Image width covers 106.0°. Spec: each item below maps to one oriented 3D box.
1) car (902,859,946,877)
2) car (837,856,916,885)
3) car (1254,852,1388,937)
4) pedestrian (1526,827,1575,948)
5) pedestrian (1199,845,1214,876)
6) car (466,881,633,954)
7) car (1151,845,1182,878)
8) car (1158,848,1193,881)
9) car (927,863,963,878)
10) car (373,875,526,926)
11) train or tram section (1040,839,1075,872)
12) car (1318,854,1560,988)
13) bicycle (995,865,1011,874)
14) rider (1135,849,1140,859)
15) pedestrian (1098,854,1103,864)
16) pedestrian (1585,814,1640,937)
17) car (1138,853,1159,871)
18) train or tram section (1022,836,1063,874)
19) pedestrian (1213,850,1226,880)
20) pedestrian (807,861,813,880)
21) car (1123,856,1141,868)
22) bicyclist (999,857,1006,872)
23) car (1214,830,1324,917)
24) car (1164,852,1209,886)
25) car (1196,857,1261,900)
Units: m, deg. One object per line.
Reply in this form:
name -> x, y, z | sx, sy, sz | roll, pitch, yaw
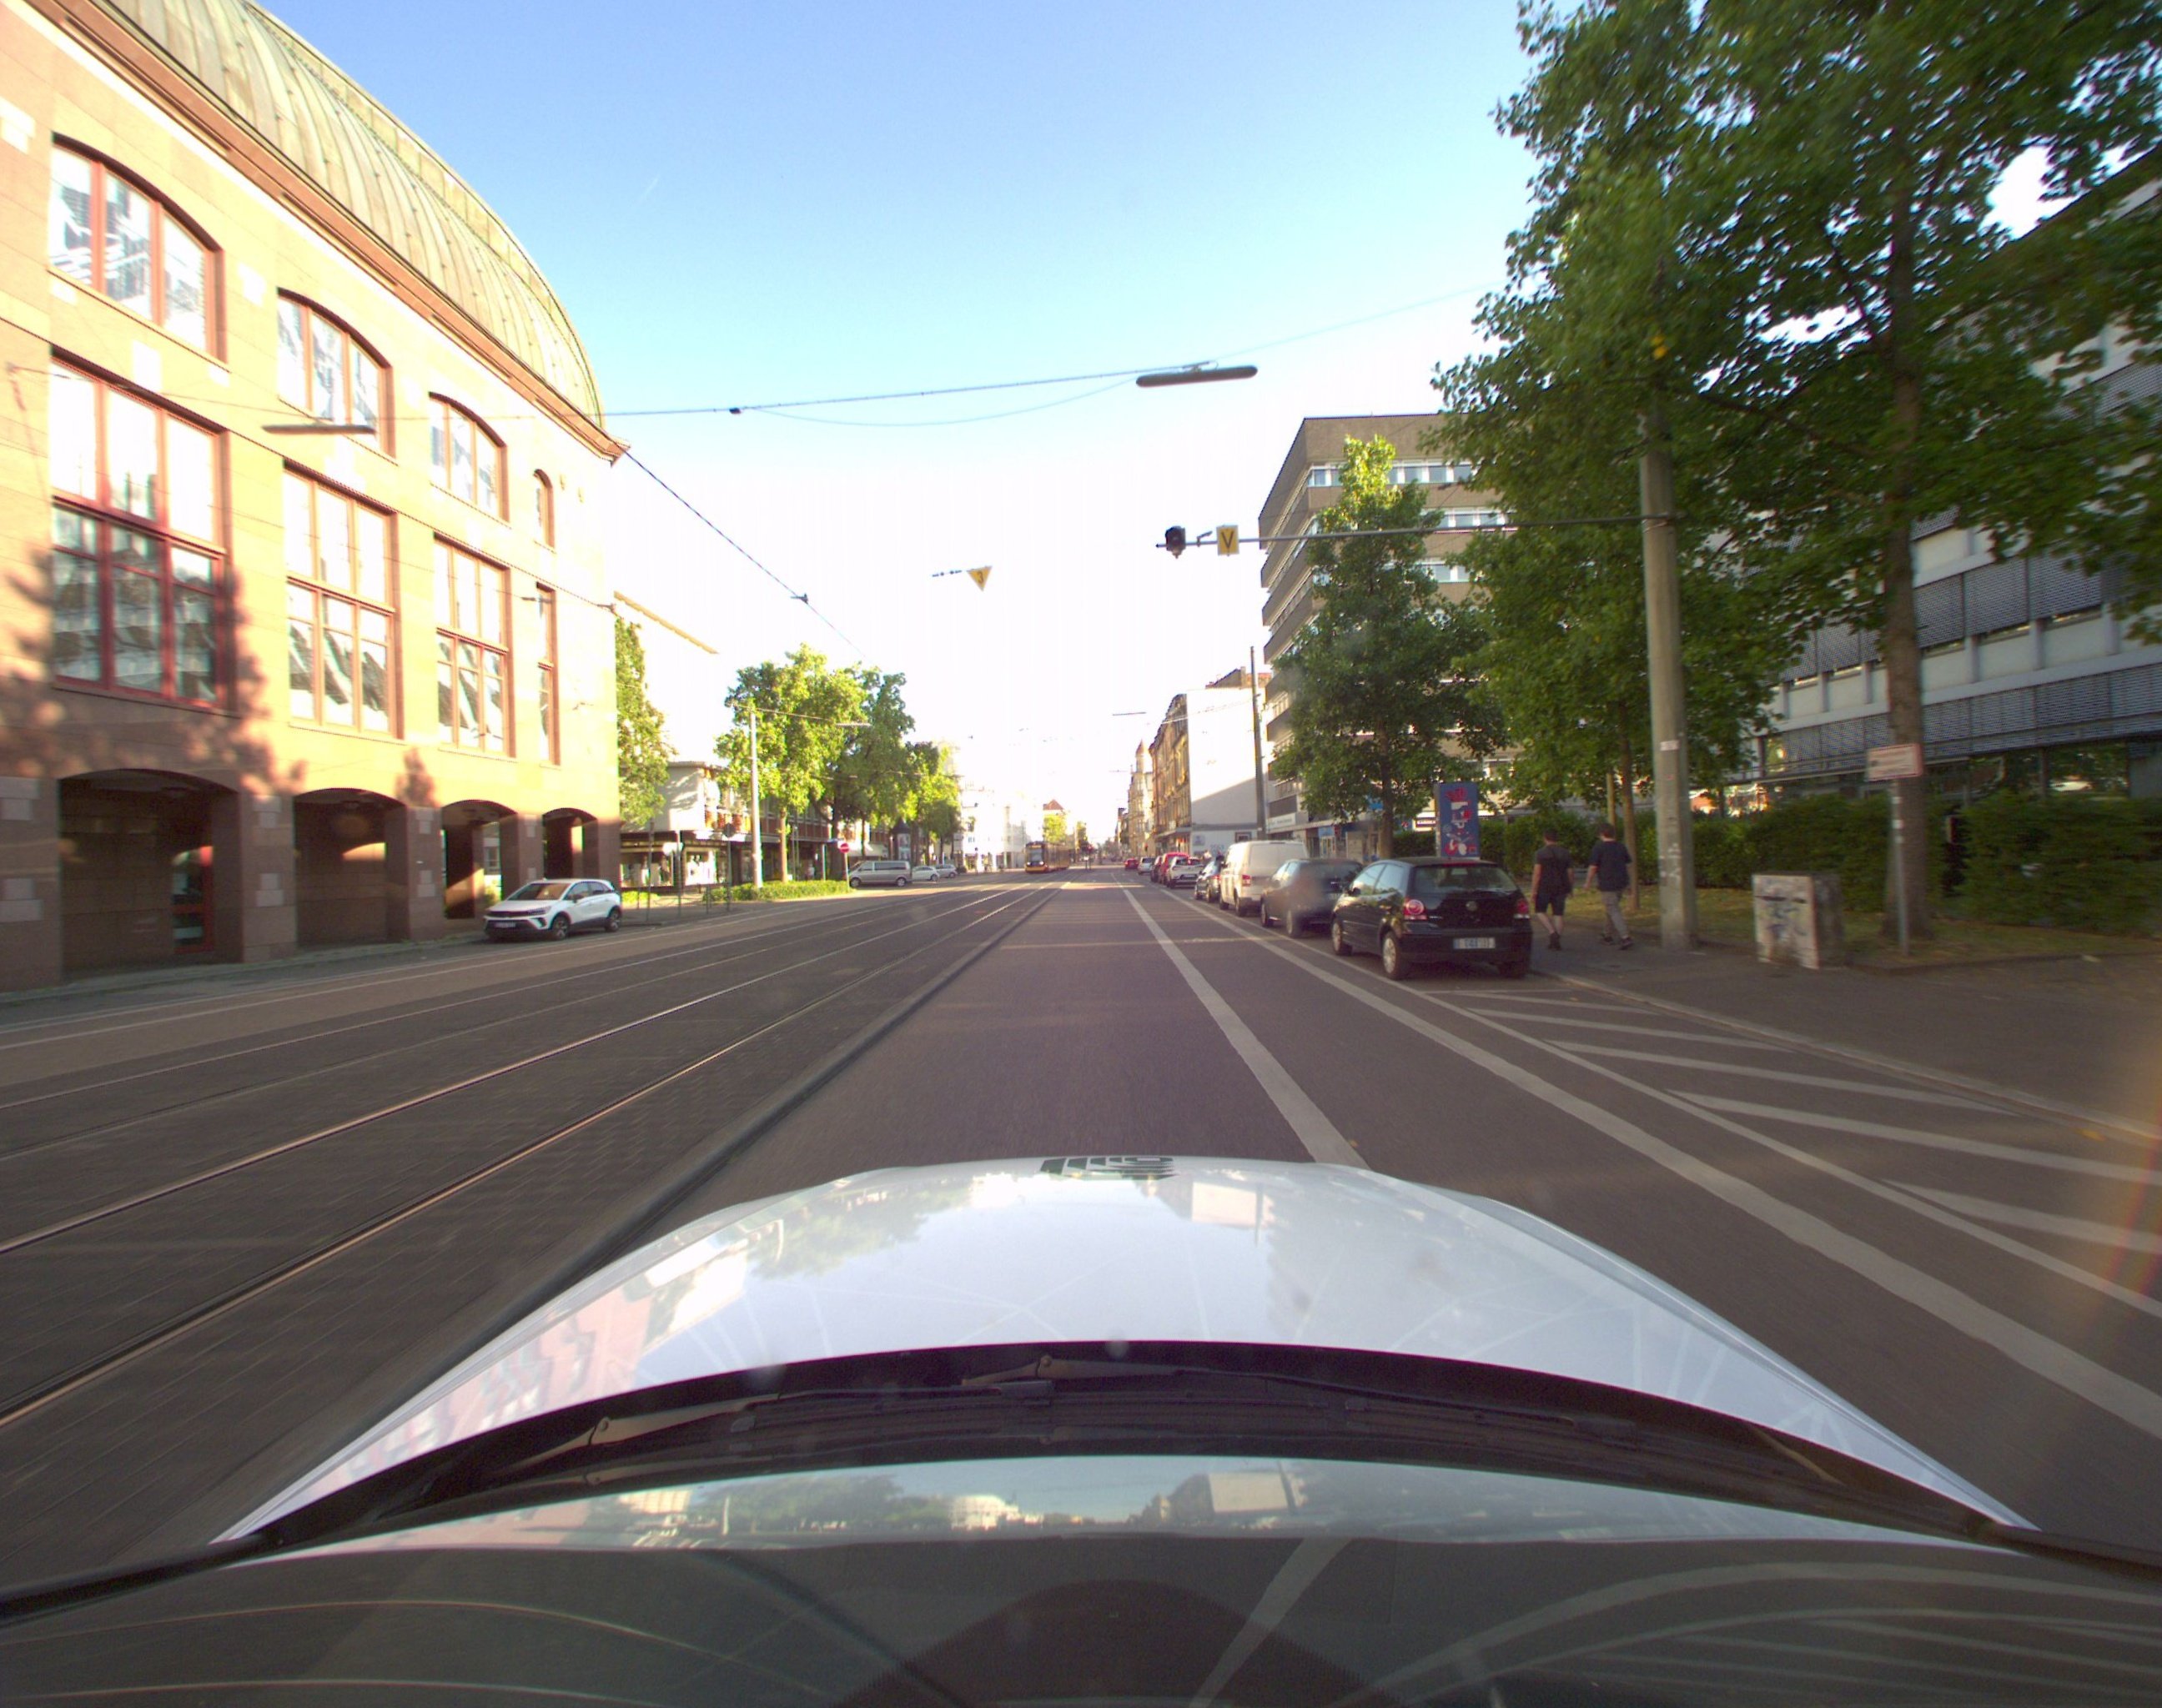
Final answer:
car -> -15.382, 1.362, 79.839 | 3.893, 1.627, 1.858 | 0, 0, -30
car -> -15.179, 1.230, 60.543 | 5.286, 2.043, 2.395 | 0, -2, -31
car -> 4.671, 0.713, 16.408 | 1.615, 1.473, 3.972 | -1, 0, 2
pedestrian -> 6.844, 0.475, 11.886 | 0.422, 1.710, 0.456 | -5, 0, 20
pedestrian -> 7.286, 0.378, 47.276 | 0.728, 1.722, 0.835 | -2, 0, 2
car -> -14.497, 1.652, 22.561 | 1.864, 1.600, 4.252 | -2, 0, -1
car -> 5.347, 0.447, 51.206 | 1.615, 2.006, 3.832 | 0, 0, 1
car -> 5.417, 0.556, 47.094 | 1.615, 1.813, 4.083 | 0, 0, 1
car -> -15.076, 1.809, 90.267 | 3.542, 1.481, 1.566 | 0, 0, -31
car -> -28.126, 2.032, 36.431 | 4.915, 1.993, 2.146 | -2, 0, -9
train or tram section -> -2.848, 0.145, 103.790 | 2.678, 3.878, 12.865 | 0, 0, 6
car -> 4.549, 0.738, 11.023 | 1.615, 1.431, 3.986 | -1, 0, 2
bicycle -> -10.411, 2.077, 108.967 | 2.008, 1.239, 0.702 | 0, 0, 8
rider -> 8.416, 0.007, 121.201 | 0.706, 1.481, 0.889 | 0, 0, 11
pedestrian -> 3.924, 1.005, 163.804 | 0.916, 2.013, 0.759 | 0, 0, 1
pedestrian -> 7.601, 0.304, 11.664 | 0.494, 1.709, 0.456 | -3, 2, 19
car -> 6.103, 0.672, 73.745 | 1.615, 1.555, 4.083 | 0, 0, 1
train or tram section -> -4.157, 0.077, 91.369 | 2.678, 3.960, 12.111 | 0, 0, 6
pedestrian -> 8.092, 0.613, 47.445 | 0.622, 1.722, 0.628 | -2, 0, 2
pedestrian -> -19.514, 1.194, 58.660 | 0.363, 1.343, 0.480 | 0, 0, -19
car -> 6.310, 0.937, 100.418 | 2.058, 1.389, 4.226 | 0, 0, 1
bicyclist -> -10.505, 1.363, 108.973 | 0.718, 2.013, 0.702 | 0, 0, 8
car -> 4.980, 0.466, 22.235 | 1.964, 2.014, 4.560 | -3, 0, 1
car -> 5.258, 0.712, 40.957 | 1.717, 1.567, 4.083 | -3, 0, 1
car -> 5.085, 0.813, 28.539 | 1.615, 1.370, 3.931 | 0, 0, 1
